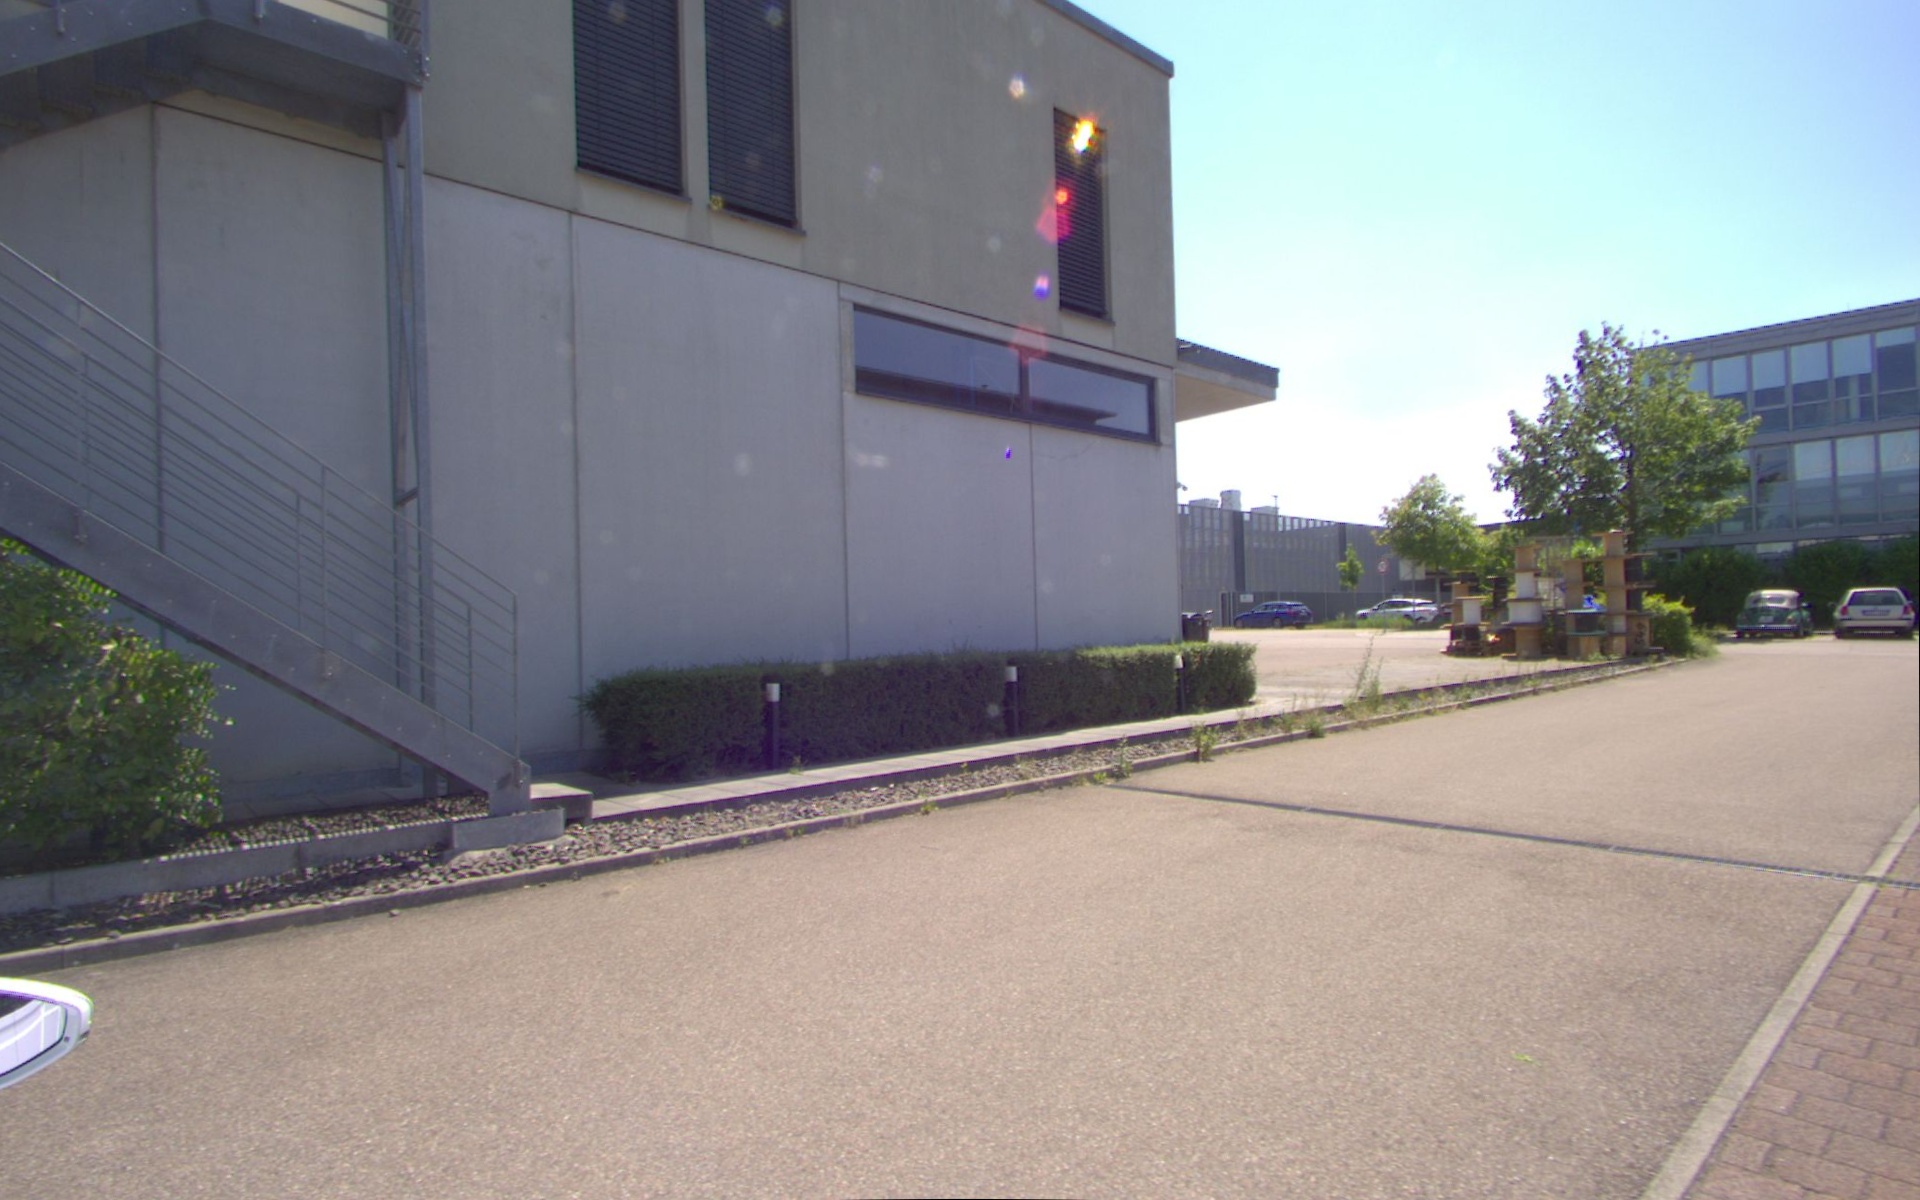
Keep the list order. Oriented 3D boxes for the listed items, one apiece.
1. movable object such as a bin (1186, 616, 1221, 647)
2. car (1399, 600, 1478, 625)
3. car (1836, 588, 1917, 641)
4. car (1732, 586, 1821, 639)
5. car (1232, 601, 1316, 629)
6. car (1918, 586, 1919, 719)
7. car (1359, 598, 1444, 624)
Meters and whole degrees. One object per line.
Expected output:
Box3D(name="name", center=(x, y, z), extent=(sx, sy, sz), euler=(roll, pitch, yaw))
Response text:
Box3D(name="movable object such as a bin", center=(7.983, 1.035, 32.834), extent=(0.802, 0.993, 0.810), euler=(0, -1, -42))
Box3D(name="car", center=(28.546, 0.765, 59.862), extent=(1.724, 1.433, 4.048), euler=(1, -2, -28))
Box3D(name="car", center=(27.177, 0.447, 29.770), extent=(1.655, 1.459, 3.968), euler=(-1, -2, 41))
Box3D(name="car", center=(25.534, 0.415, 31.269), extent=(3.962, 1.538, 1.732), euler=(1, -2, -45))
Box3D(name="car", center=(16.748, 0.858, 53.687), extent=(1.723, 1.433, 4.430), euler=(1, -2, -27))
Box3D(name="car", center=(9.634, 0.608, 8.582), extent=(3.676, 1.455, 1.715), euler=(1, -1, -41))
Box3D(name="car", center=(25.516, 0.667, 58.049), extent=(1.724, 1.433, 4.428), euler=(1, -2, -28))
